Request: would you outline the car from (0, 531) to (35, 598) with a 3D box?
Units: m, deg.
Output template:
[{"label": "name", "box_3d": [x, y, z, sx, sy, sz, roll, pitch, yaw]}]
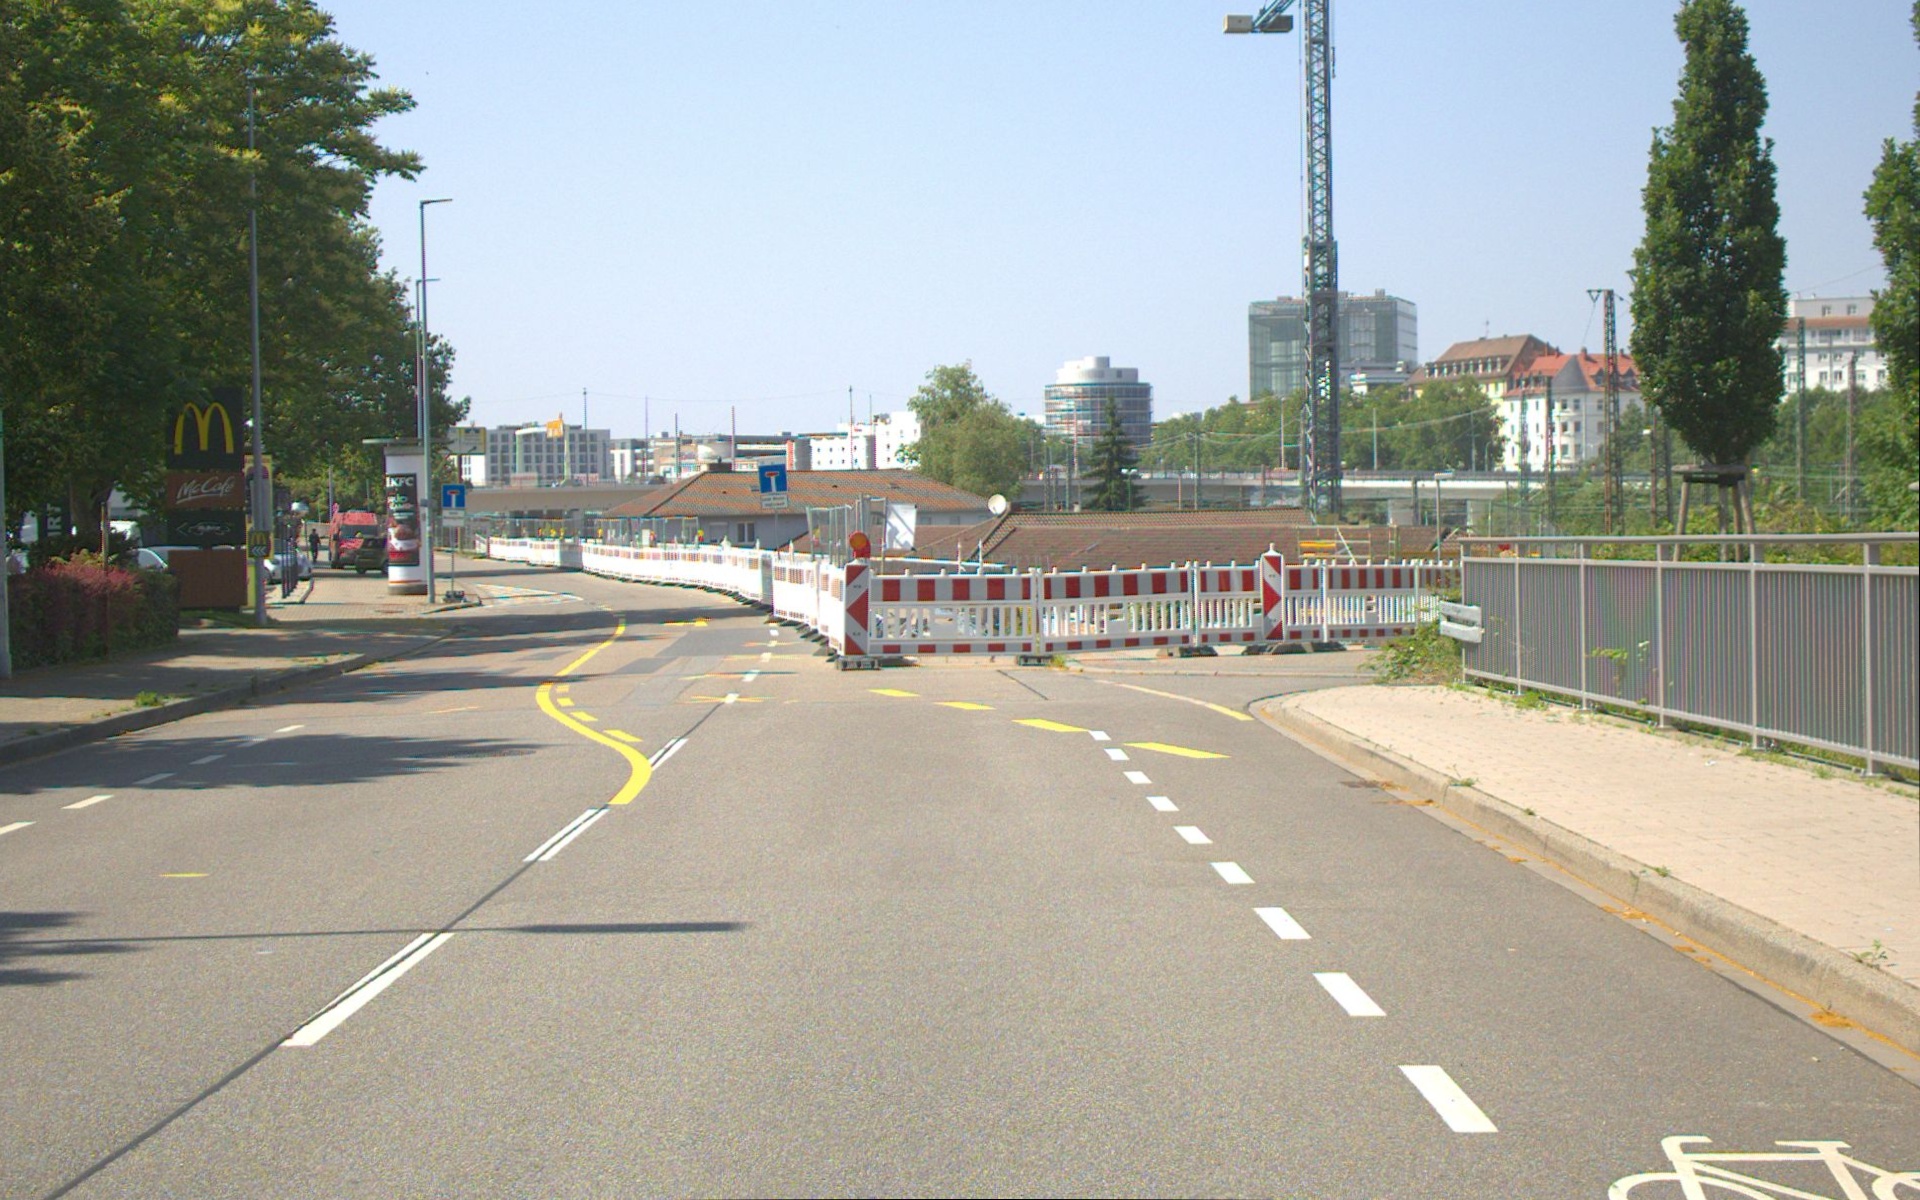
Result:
[{"label": "car", "box_3d": [-28.768, -1.028, 99.910, 1.994, 1.897, 3.998, -2, 1, -42]}]
